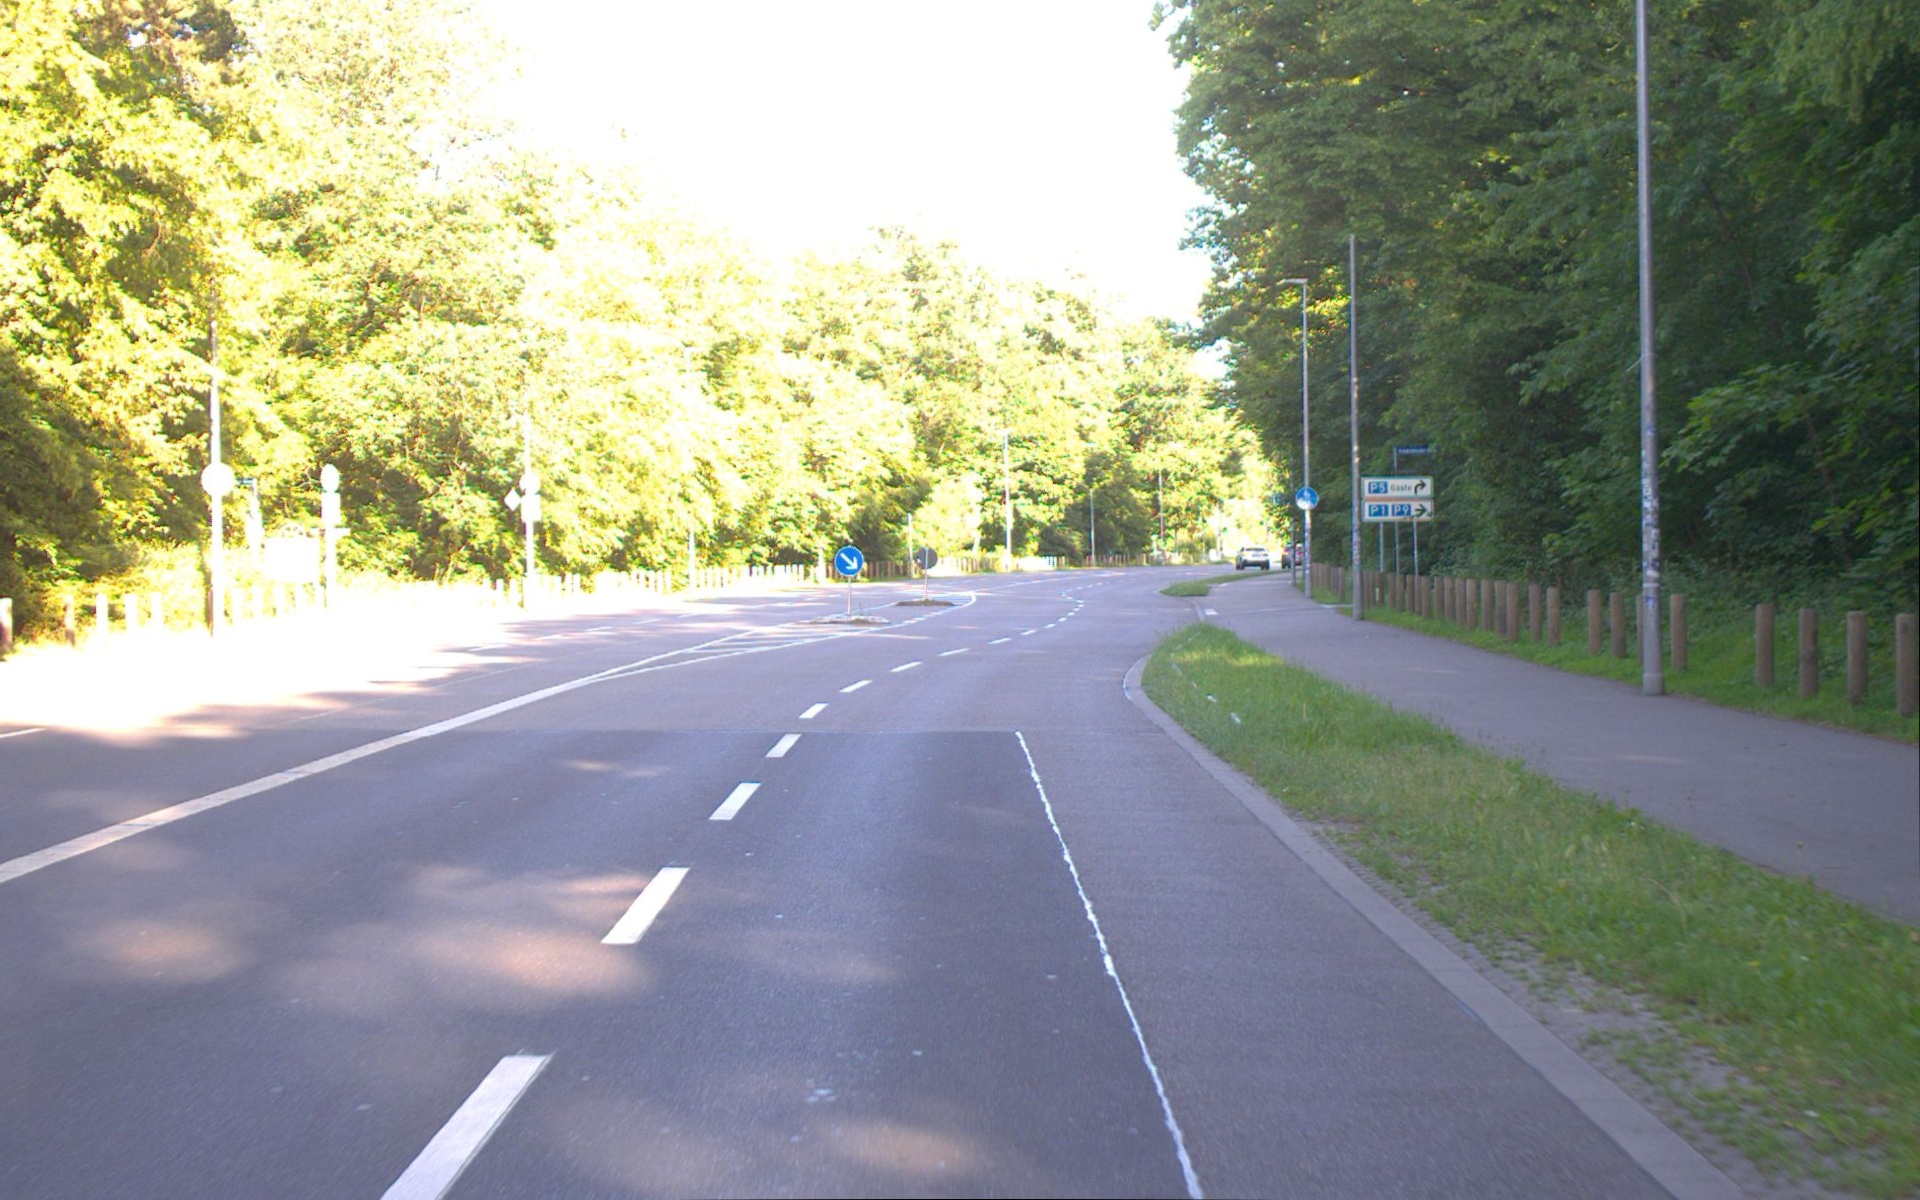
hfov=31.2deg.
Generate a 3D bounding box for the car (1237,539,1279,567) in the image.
[{"bbox_3d":[18.932,-2.976,217.950,1.881,1.703,3.997,-1,1,16],"label":"car"}]

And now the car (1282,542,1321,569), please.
[{"bbox_3d":[22.780,-2.969,229.222,1.881,1.759,3.997,-1,1,16],"label":"car"}]

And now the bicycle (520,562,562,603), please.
[{"bbox_3d":[-11.698,-0.486,95.982,0.401,1.128,2.218,1,1,13],"label":"bicycle"}]
